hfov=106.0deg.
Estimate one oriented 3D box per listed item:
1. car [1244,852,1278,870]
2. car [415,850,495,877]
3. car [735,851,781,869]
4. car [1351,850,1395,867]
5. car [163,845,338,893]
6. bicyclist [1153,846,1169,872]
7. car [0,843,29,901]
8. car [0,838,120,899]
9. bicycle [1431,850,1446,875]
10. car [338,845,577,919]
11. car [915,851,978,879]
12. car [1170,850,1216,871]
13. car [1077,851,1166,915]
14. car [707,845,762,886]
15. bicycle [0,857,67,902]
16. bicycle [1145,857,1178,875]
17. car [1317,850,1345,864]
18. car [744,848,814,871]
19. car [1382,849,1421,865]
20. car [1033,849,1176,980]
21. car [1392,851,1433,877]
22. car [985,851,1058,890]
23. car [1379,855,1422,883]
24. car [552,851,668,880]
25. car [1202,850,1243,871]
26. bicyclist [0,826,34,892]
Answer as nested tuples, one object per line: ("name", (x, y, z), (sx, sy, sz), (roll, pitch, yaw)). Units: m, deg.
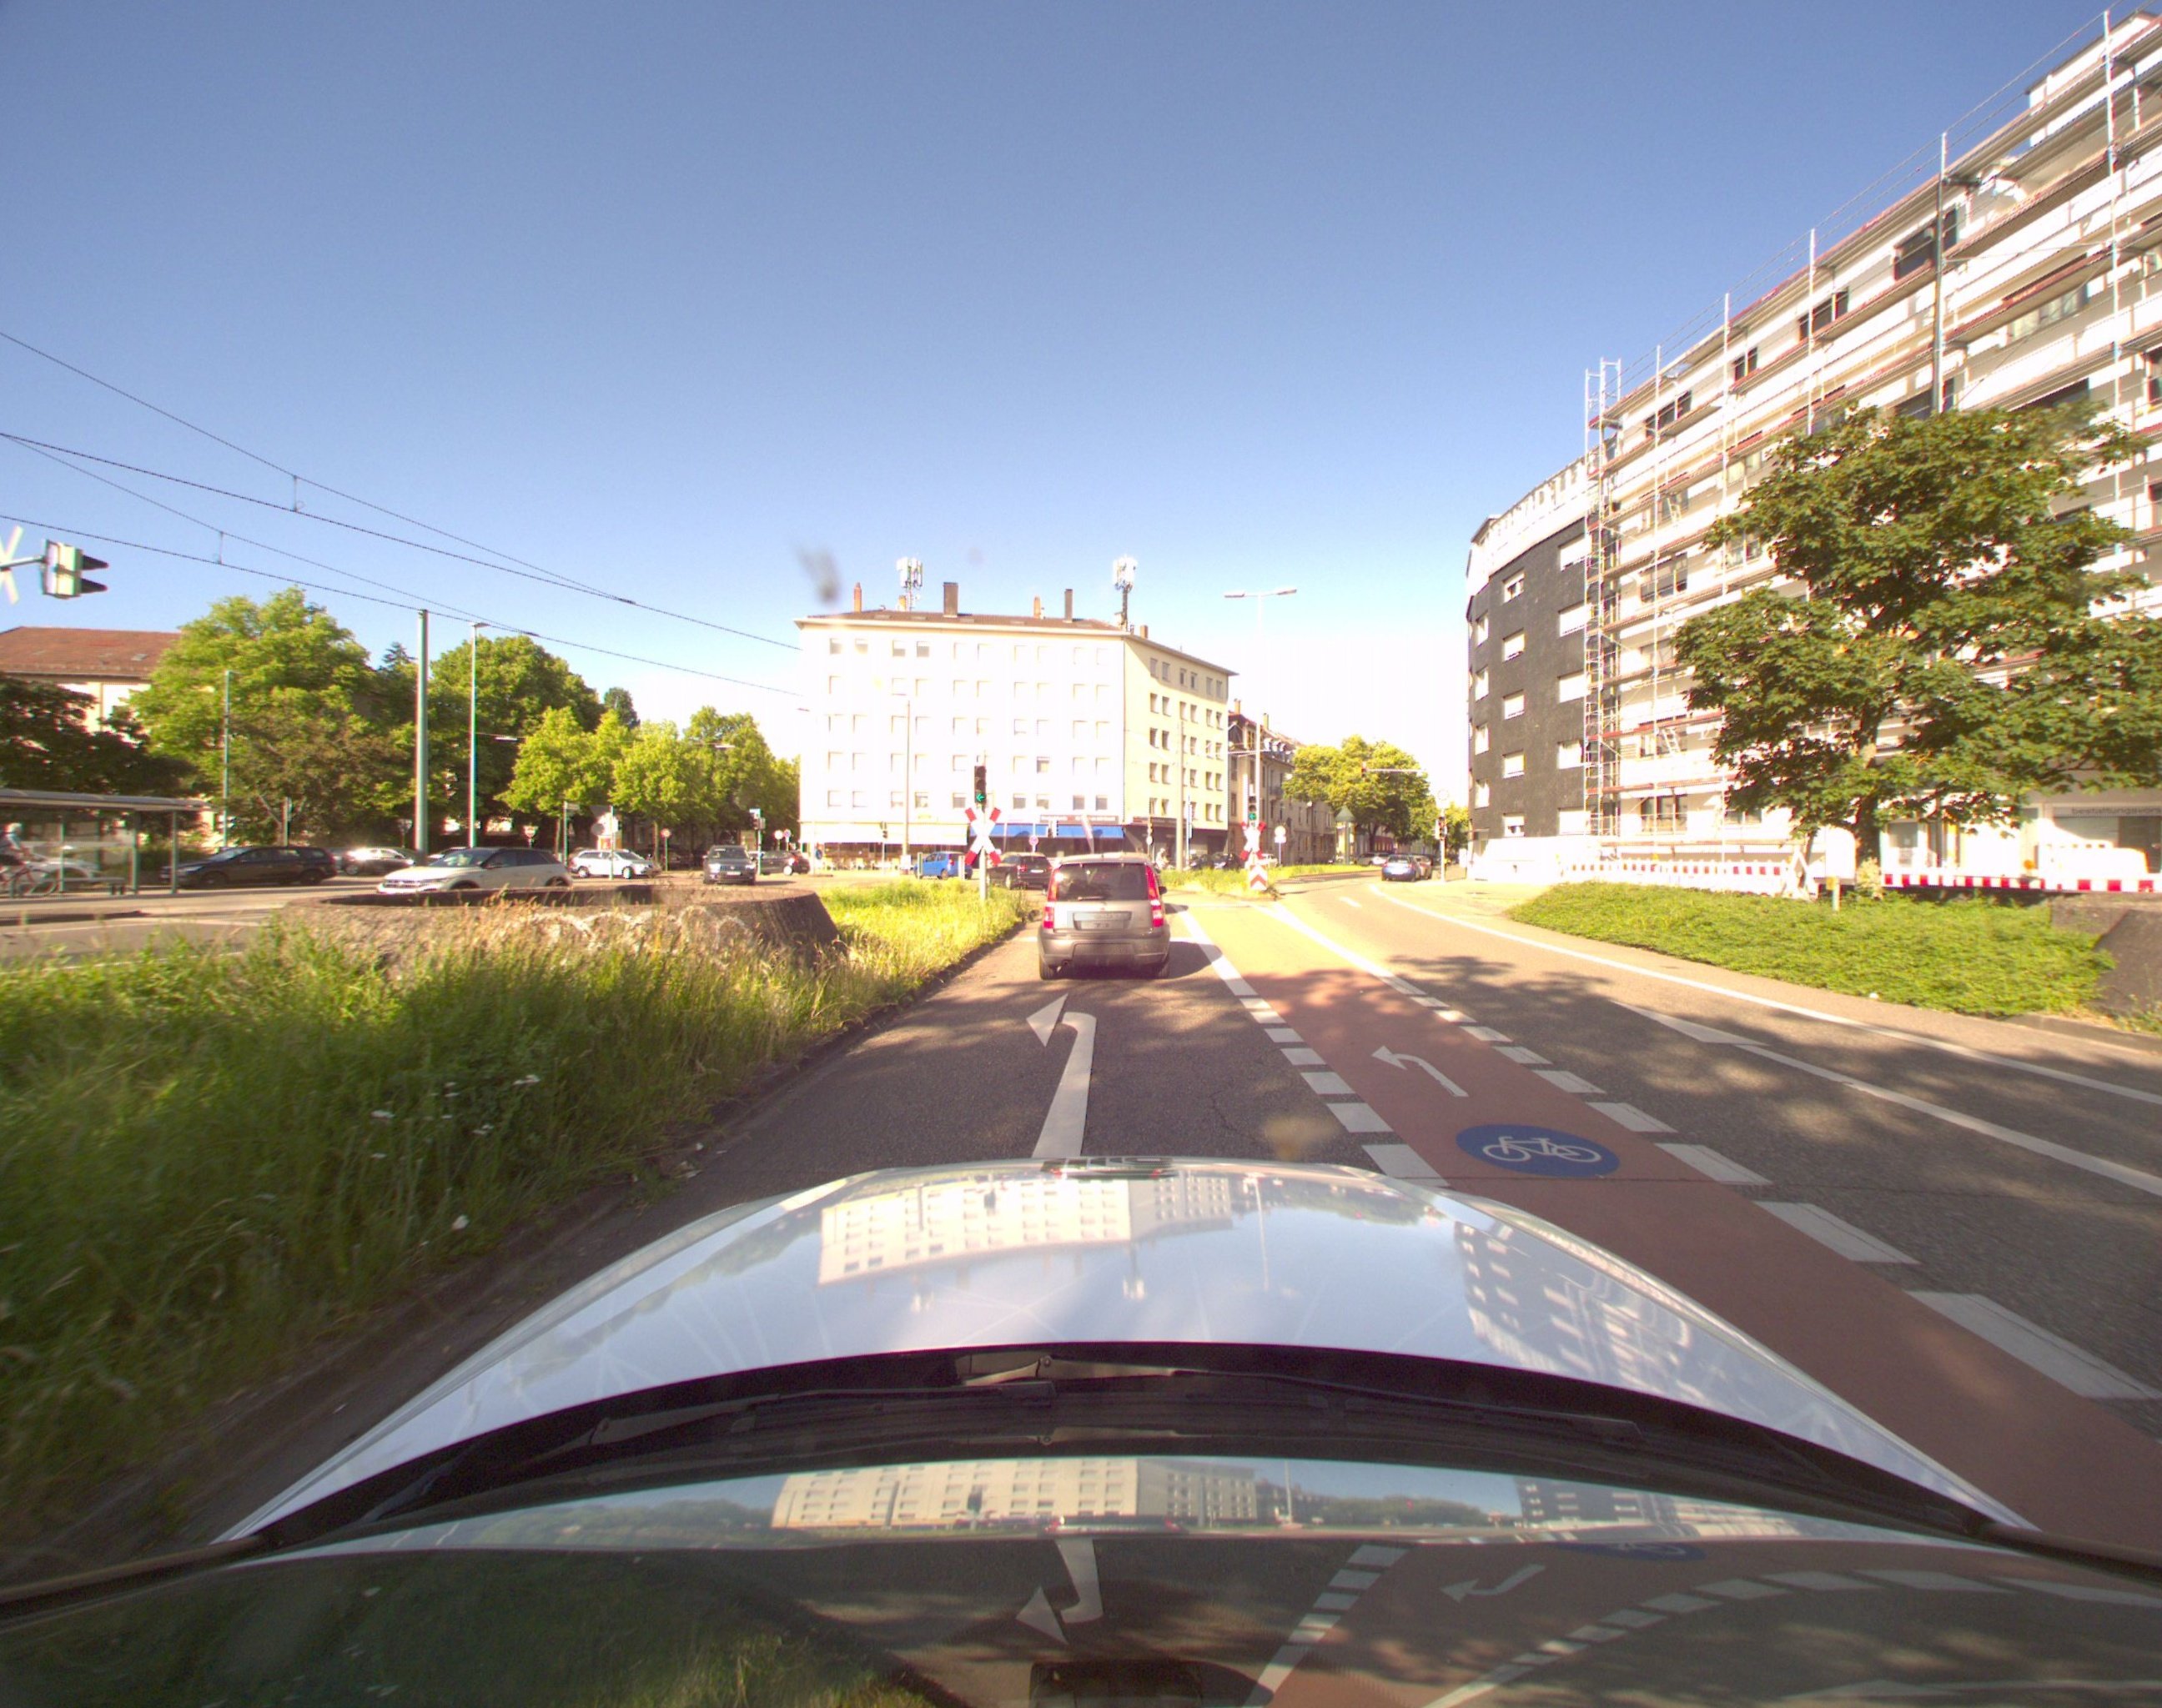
("car", (14.953, 0.577, 67.574), (1.773, 1.483, 3.554), (0, 0, 31))
("car", (-38.931, 0.557, 50.782), (1.755, 1.617, 4.224), (1, 0, -1))
("car", (-23.576, 0.417, 59.610), (1.990, 1.310, 3.994), (0, 0, -4))
("car", (27.416, 0.425, 76.553), (1.909, 1.594, 3.977), (0, 0, -17))
("car", (-29.762, 0.469, 29.372), (1.744, 1.488, 4.027), (3, 2, 18))
("bicyclist", (4.732, 0.286, 48.215), (0.813, 1.559, 0.565), (0, 0, 28))
("car", (-31.908, 0.486, 21.778), (1.849, 1.544, 4.578), (4, 2, 39))
("car", (-32.811, 0.426, 24.926), (1.743, 1.717, 4.022), (4, 2, 23))
("bicycle", (22.117, 0.536, 50.317), (0.567, 1.511, 2.825), (0, 0, 29))
("car", (-14.922, 0.602, 19.873), (1.981, 1.562, 4.399), (1, 0, 10))
("car", (-7.128, 0.559, 42.901), (1.660, 1.438, 3.354), (0, 0, -44))
("car", (7.758, 0.446, 56.144), (1.773, 1.396, 3.748), (0, 0, 31))
("car", (0.919, 0.643, 20.142), (1.619, 1.429, 3.680), (0, 0, -7))
("car", (-14.501, 0.445, 34.260), (1.758, 1.614, 4.693), (0, 0, -19))
("bicycle", (-25.113, 0.585, 19.039), (0.606, 1.001, 1.668), (2, 1, 28))
("bicycle", (4.742, 0.705, 48.207), (1.834, 1.032, 0.593), (0, 0, 27))
("car", (26.983, 0.345, 87.845), (1.974, 1.473, 4.025), (0, 0, 32))
("car", (-17.586, 0.300, 47.417), (3.582, 1.253, 1.705), (0, 0, 22))
("car", (37.019, 0.355, 94.060), (3.771, 1.785, 1.852), (0, 0, 43))
("car", (0.211, 0.700, 11.077), (1.656, 1.510, 3.248), (0, 0, -3))
("car", (20.163, 0.554, 49.421), (1.802, 1.508, 4.025), (0, 0, 29))
("car", (-2.549, 0.625, 33.733), (1.767, 1.486, 4.261), (0, 0, -23))
("car", (17.716, 0.800, 45.092), (1.758, 1.442, 3.640), (1, 1, 28))
("car", (-23.870, 0.575, 41.344), (4.849, 1.442, 1.735), (0, 0, 1))
("car", (10.705, 0.466, 61.256), (1.773, 1.565, 3.790), (0, 0, 31))
("bicyclist", (-25.104, 0.111, 19.039), (0.606, 1.530, 0.680), (2, 1, 28))
